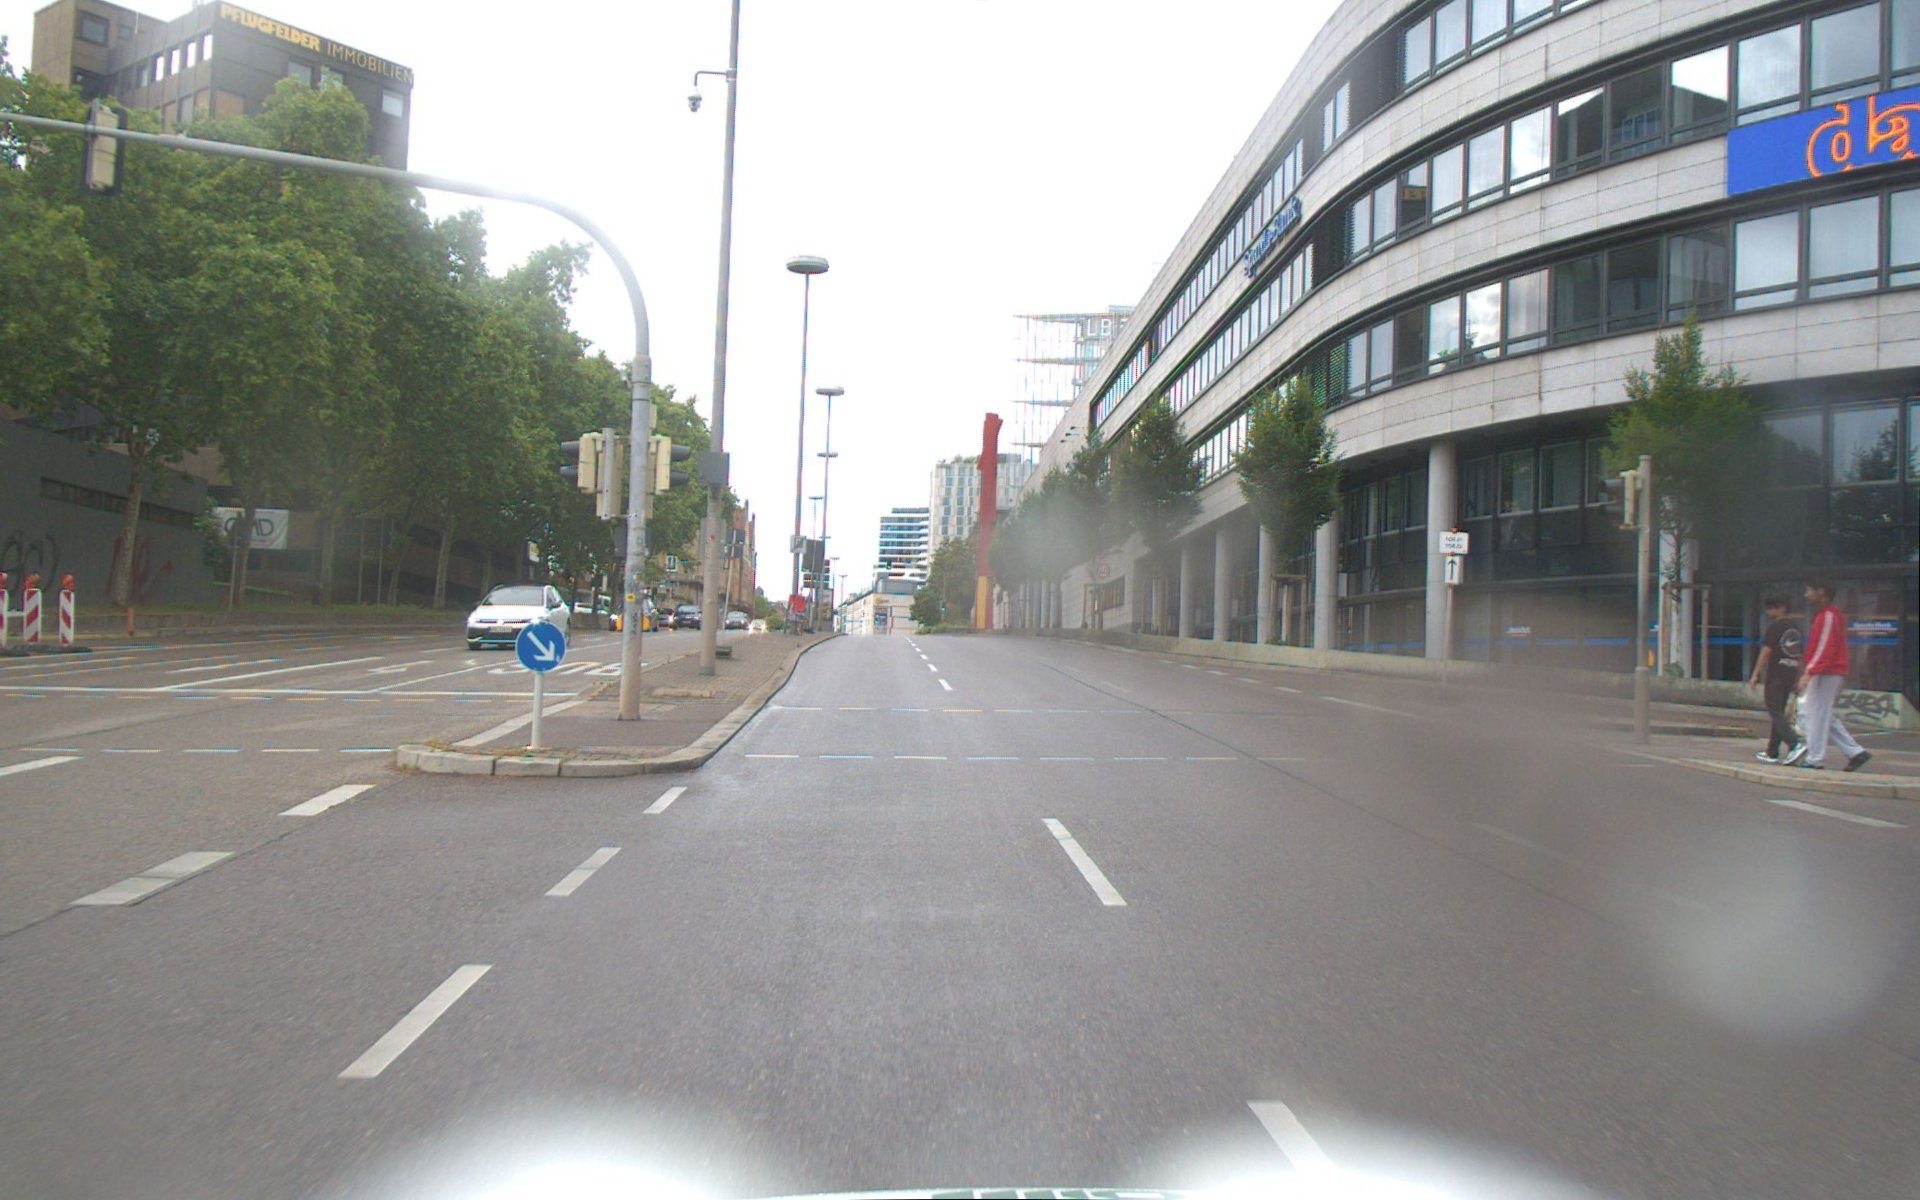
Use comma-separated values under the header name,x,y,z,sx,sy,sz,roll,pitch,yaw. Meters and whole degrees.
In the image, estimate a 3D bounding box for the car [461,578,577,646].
name,x,y,z,sx,sy,sz,roll,pitch,yaw
car,-10.293,0.260,38.893,1.726,1.486,4.357,1,0,-3

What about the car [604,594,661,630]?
name,x,y,z,sx,sy,sz,roll,pitch,yaw
car,-14.165,0.514,71.713,1.771,1.474,4.337,1,0,-3

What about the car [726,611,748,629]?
name,x,y,z,sx,sy,sz,roll,pitch,yaw
car,-18.000,1.607,133.803,1.654,1.435,3.994,1,-1,-6

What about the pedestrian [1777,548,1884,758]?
name,x,y,z,sx,sy,sz,roll,pitch,yaw
pedestrian,8.302,0.504,15.808,0.823,1.938,0.860,1,-3,24

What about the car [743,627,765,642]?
name,x,y,z,sx,sy,sz,roll,pitch,yaw
car,-21.154,3.508,169.682,1.782,1.428,3.999,0,-2,0

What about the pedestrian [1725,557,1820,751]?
name,x,y,z,sx,sy,sz,roll,pitch,yaw
pedestrian,8.333,0.544,16.987,0.823,1.938,0.731,1,-2,24

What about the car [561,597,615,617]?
name,x,y,z,sx,sy,sz,roll,pitch,yaw
car,-32.492,0.647,144.625,1.788,1.537,4.561,-2,-3,35

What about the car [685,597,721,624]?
name,x,y,z,sx,sy,sz,roll,pitch,yaw
car,-14.975,0.609,96.523,1.576,1.499,4.066,1,-1,-2
